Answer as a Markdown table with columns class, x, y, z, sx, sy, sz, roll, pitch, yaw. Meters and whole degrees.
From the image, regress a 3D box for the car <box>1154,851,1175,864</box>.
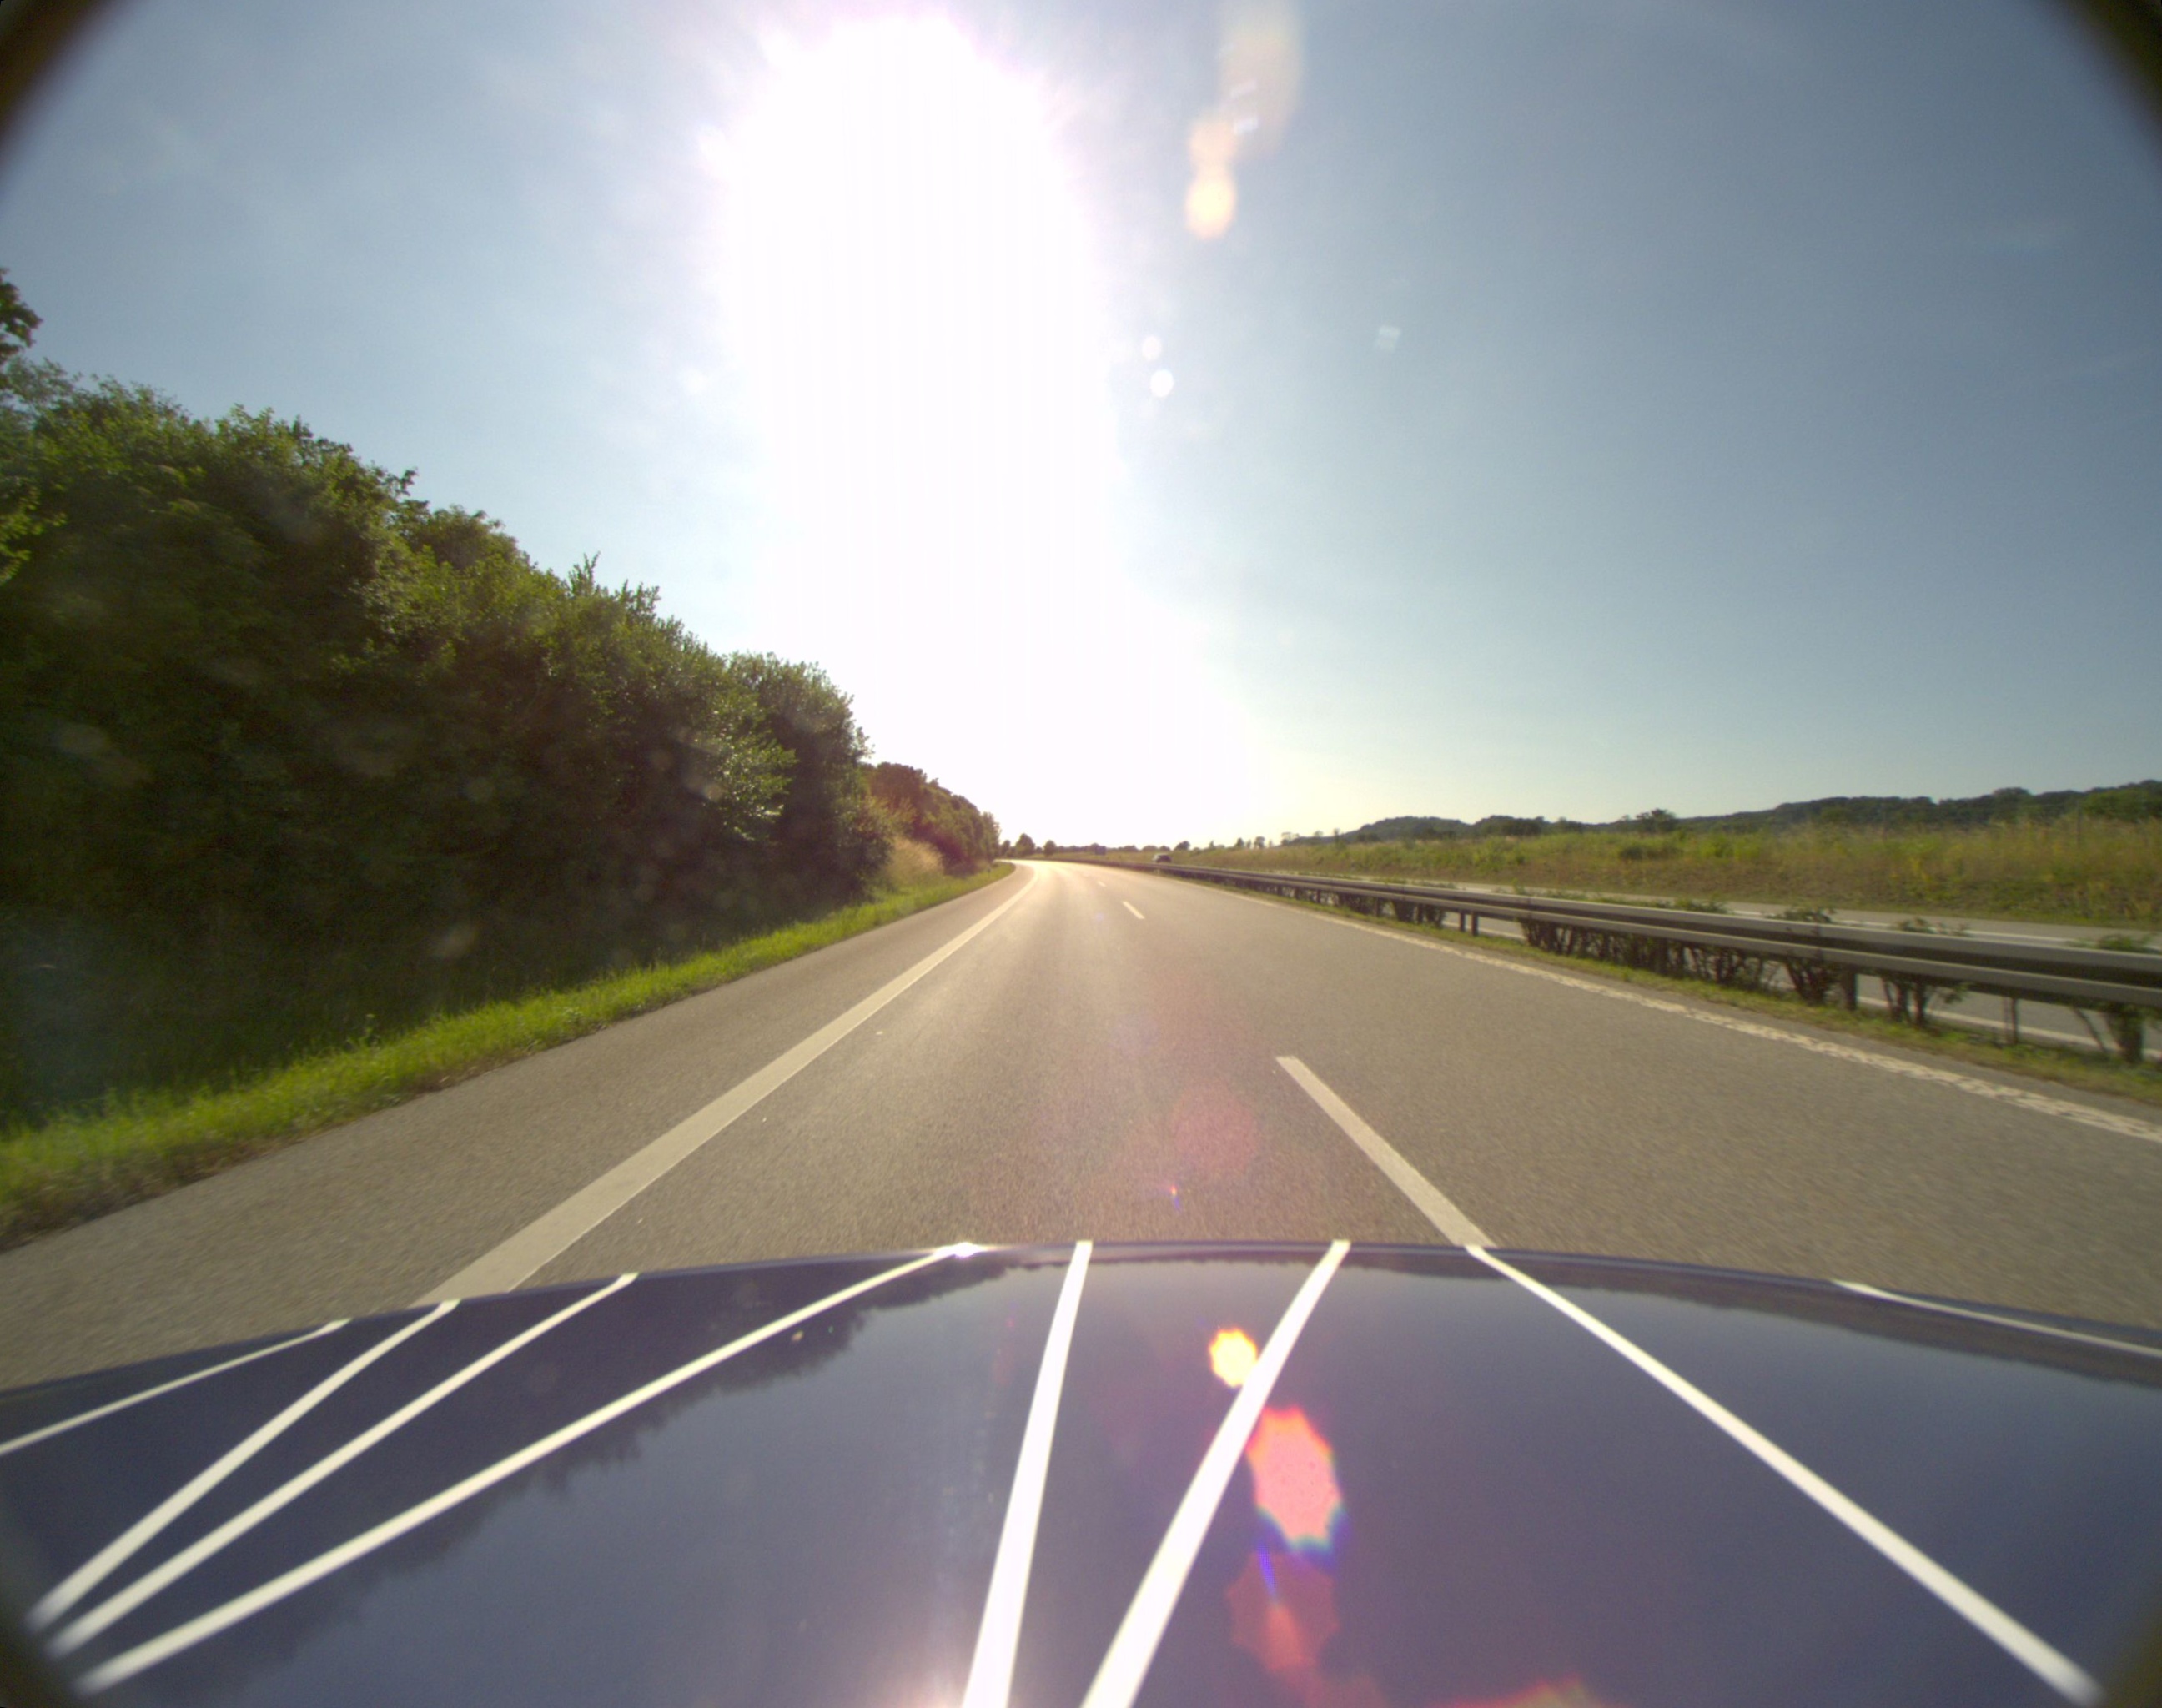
| class | x | y | z | sx | sy | sz | roll | pitch | yaw |
| --- | --- | --- | --- | --- | --- | --- | --- | --- | --- |
| car | 10.900 | 0.485 | 98.986 | 1.837 | 1.543 | 4.463 | -1 | 0 | -6 |
